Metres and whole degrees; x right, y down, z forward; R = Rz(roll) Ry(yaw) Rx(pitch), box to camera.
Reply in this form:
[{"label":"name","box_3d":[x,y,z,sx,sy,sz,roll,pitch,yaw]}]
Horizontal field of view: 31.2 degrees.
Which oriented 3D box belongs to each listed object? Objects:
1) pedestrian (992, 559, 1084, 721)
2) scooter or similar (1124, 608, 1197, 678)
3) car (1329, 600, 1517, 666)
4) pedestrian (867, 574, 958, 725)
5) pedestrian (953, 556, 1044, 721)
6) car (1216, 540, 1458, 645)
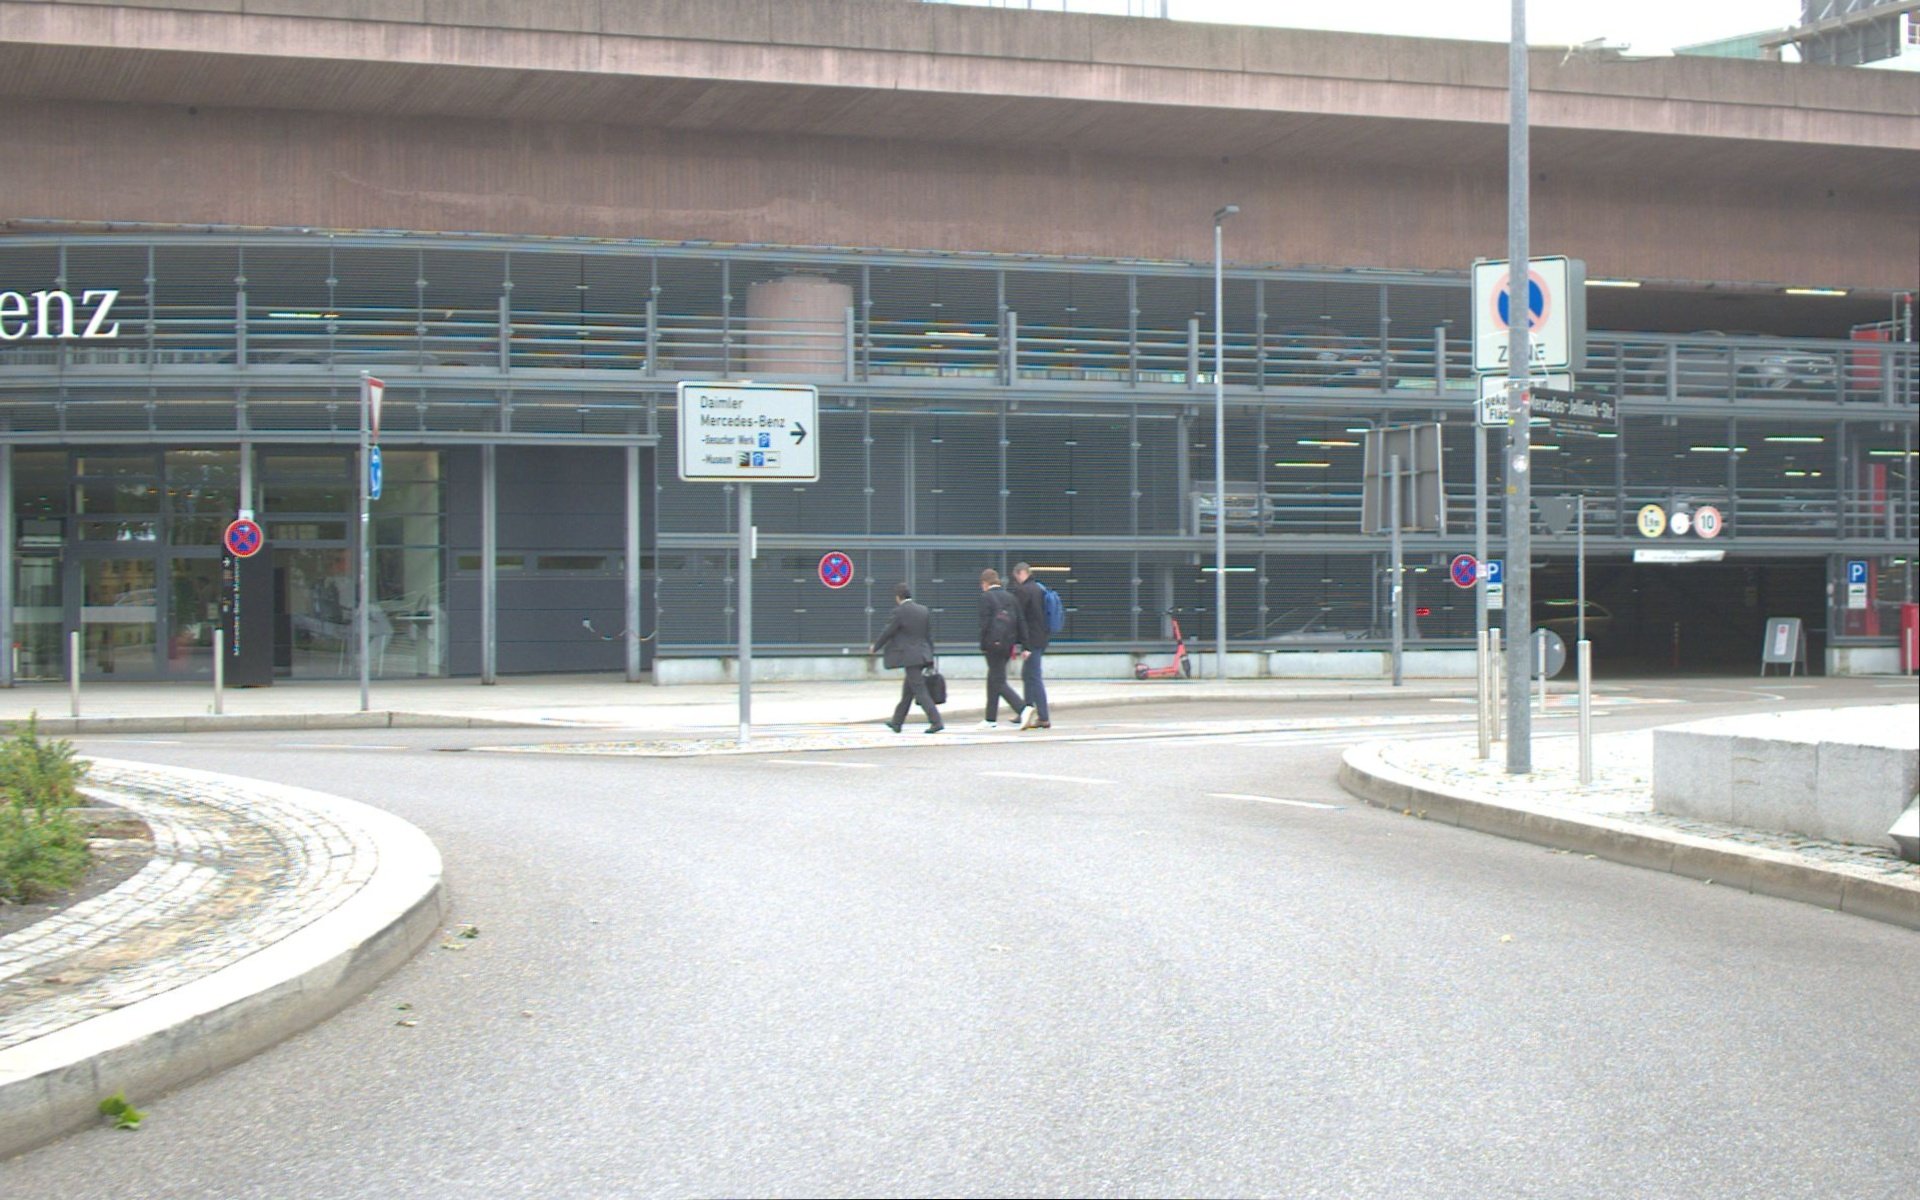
[{"label":"pedestrian","box_3d":[0.848,0.440,37.359,0.830,1.735,0.690,1,-1,-15]},{"label":"scooter or similar","box_3d":[3.489,0.748,59.699,1.230,1.190,0.356,1,-1,-23]},{"label":"car","box_3d":[11.111,0.793,82.538,3.986,1.569,2.000,0,0,-22]},{"label":"pedestrian","box_3d":[-0.505,0.521,36.100,0.830,1.565,0.690,1,-1,-11]},{"label":"pedestrian","box_3d":[0.406,0.415,36.730,0.830,1.735,0.690,1,-1,-11]},{"label":"car","box_3d":[7.013,-0.128,63.967,3.986,1.897,2.000,0,0,-22]}]
